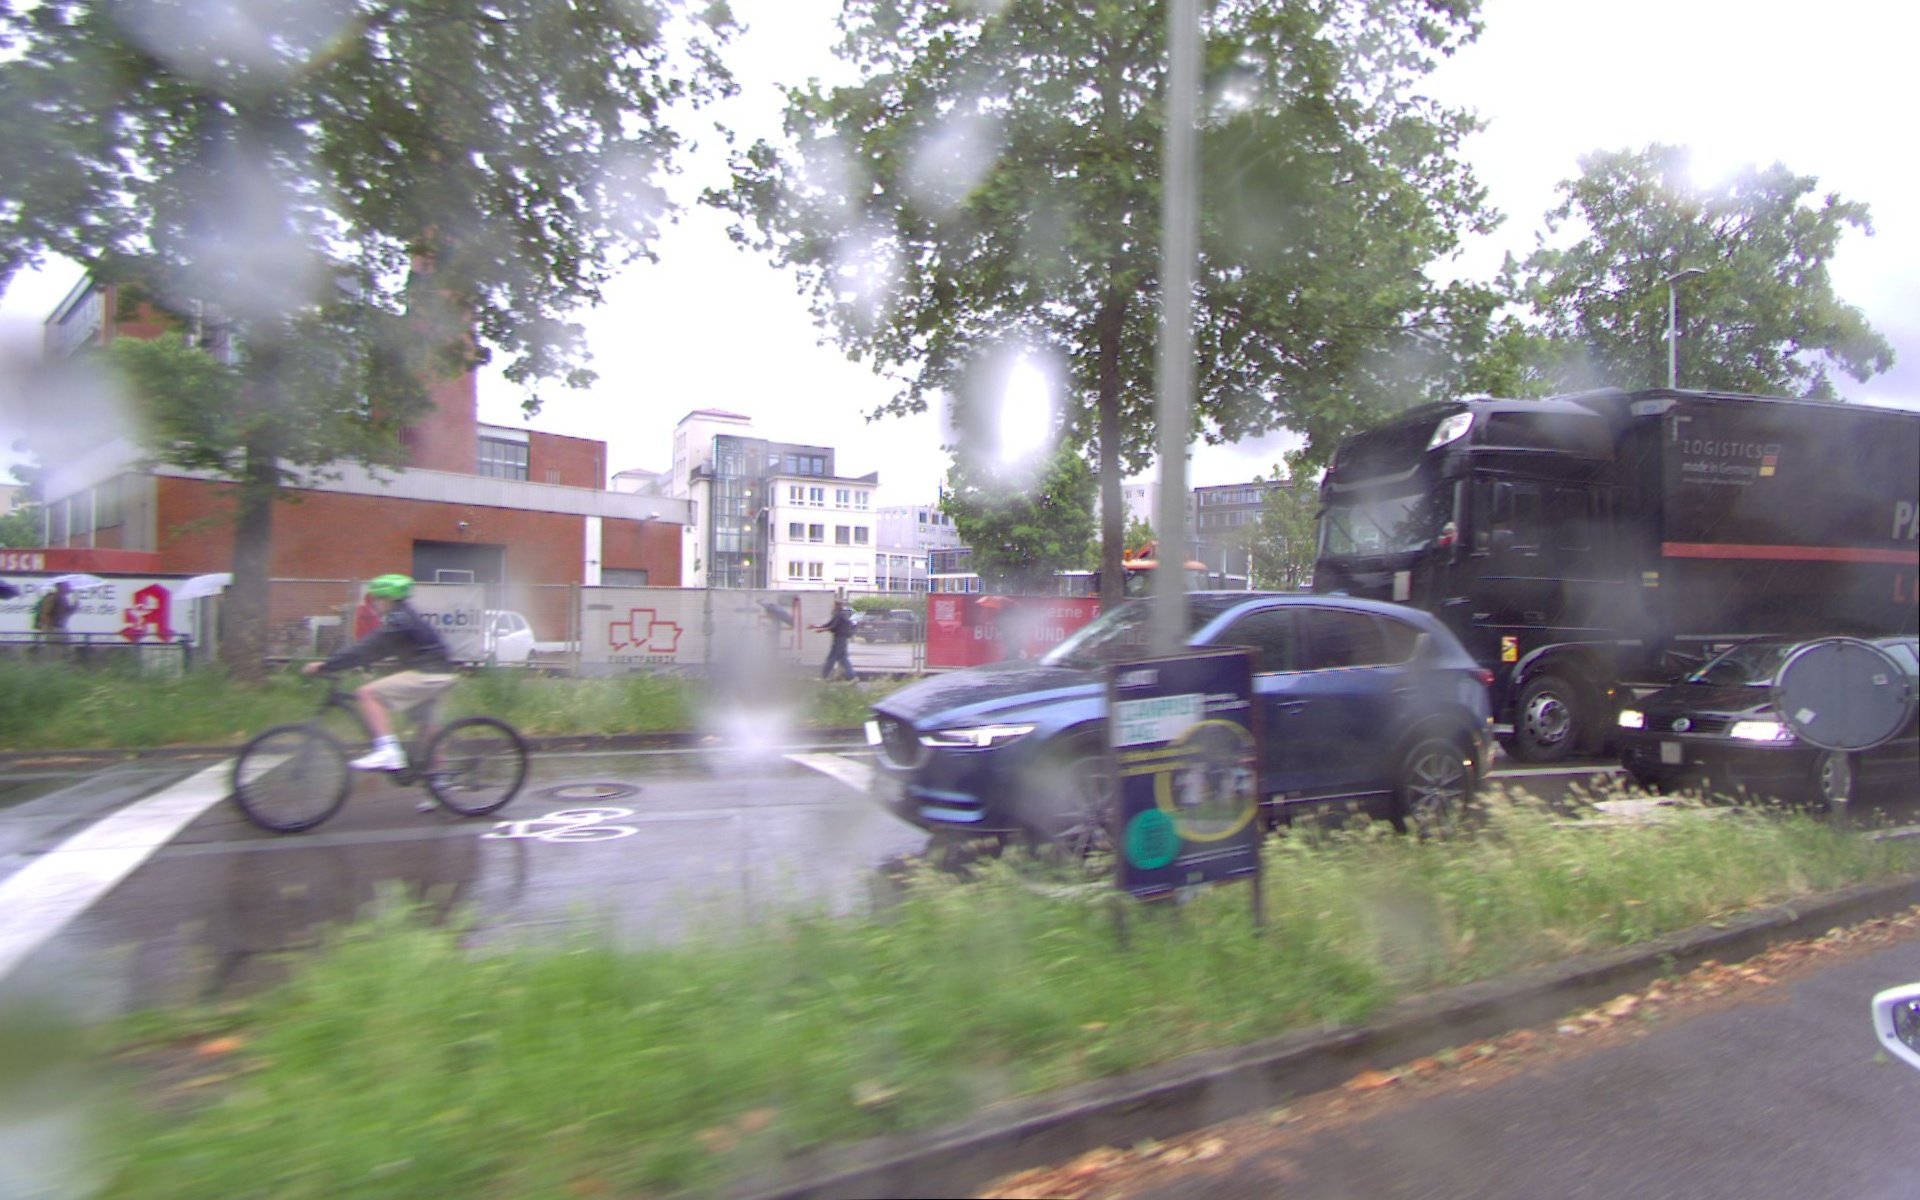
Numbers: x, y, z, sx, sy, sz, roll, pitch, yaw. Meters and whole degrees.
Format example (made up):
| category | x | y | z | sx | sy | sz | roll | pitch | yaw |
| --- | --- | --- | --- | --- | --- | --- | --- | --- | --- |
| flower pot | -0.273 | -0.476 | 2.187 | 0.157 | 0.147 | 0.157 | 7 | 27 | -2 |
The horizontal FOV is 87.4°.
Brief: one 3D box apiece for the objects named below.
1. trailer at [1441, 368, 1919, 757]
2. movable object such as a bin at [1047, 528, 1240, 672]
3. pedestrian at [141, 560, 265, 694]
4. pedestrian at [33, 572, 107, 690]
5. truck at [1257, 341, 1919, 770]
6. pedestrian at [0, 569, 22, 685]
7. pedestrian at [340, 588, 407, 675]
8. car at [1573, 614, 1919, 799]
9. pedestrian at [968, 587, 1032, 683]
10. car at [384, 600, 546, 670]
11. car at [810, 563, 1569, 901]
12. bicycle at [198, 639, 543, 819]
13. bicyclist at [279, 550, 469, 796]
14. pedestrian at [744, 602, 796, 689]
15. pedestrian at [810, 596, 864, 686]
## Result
| category | x | y | z | sx | sy | sz | roll | pitch | yaw |
| --- | --- | --- | --- | --- | --- | --- | --- | --- | --- |
| trailer | 14.197 | -0.212 | 14.483 | 14.810 | 4.102 | 3.440 | 1 | -1 | -18 |
| movable object such as a bin | 4.161 | 0.027 | 24.425 | 2.723 | 2.969 | 6.771 | 1 | 0 | -7 |
| pedestrian | -11.692 | 0.416 | 15.554 | 1.191 | 1.990 | 0.912 | 1 | -1 | -2 |
| pedestrian | -14.801 | 0.513 | 16.708 | 0.843 | 1.887 | 0.943 | 2 | -2 | -45 |
| truck | 7.639 | -0.349 | 12.380 | 6.863 | 4.133 | 3.448 | 1 | 0 | -18 |
| pedestrian | -16.085 | 0.436 | 16.566 | 0.843 | 1.887 | 0.943 | 2 | -2 | -45 |
| pedestrian | -10.588 | 0.563 | 18.141 | 0.843 | 1.524 | 0.818 | 2 | -2 | -45 |
| car | 7.801 | 0.855 | 9.153 | 4.039 | 1.391 | 1.695 | 1 | -1 | -21 |
| pedestrian | 0.714 | 0.614 | 17.926 | 0.891 | 1.671 | 0.753 | 0 | -1 | 27 |
| car | -10.448 | 0.684 | 21.505 | 1.808 | 1.339 | 3.663 | 1 | 0 | -4 |
| car | 1.595 | 0.635 | 6.969 | 4.860 | 1.705 | 2.068 | 0 | 2 | -24 |
| bicycle | -3.760 | 0.785 | 6.554 | 1.853 | 1.038 | 0.529 | 2 | -1 | -31 |
| bicyclist | -3.793 | 0.455 | 6.547 | 0.999 | 1.480 | 0.576 | 2 | -1 | -31 |
| pedestrian | -3.442 | 0.814 | 18.257 | 0.756 | 1.535 | 0.643 | 1 | -1 | 4 |
| pedestrian | -2.262 | 0.752 | 18.547 | 0.863 | 1.602 | 0.643 | 1 | -1 | 4 |
